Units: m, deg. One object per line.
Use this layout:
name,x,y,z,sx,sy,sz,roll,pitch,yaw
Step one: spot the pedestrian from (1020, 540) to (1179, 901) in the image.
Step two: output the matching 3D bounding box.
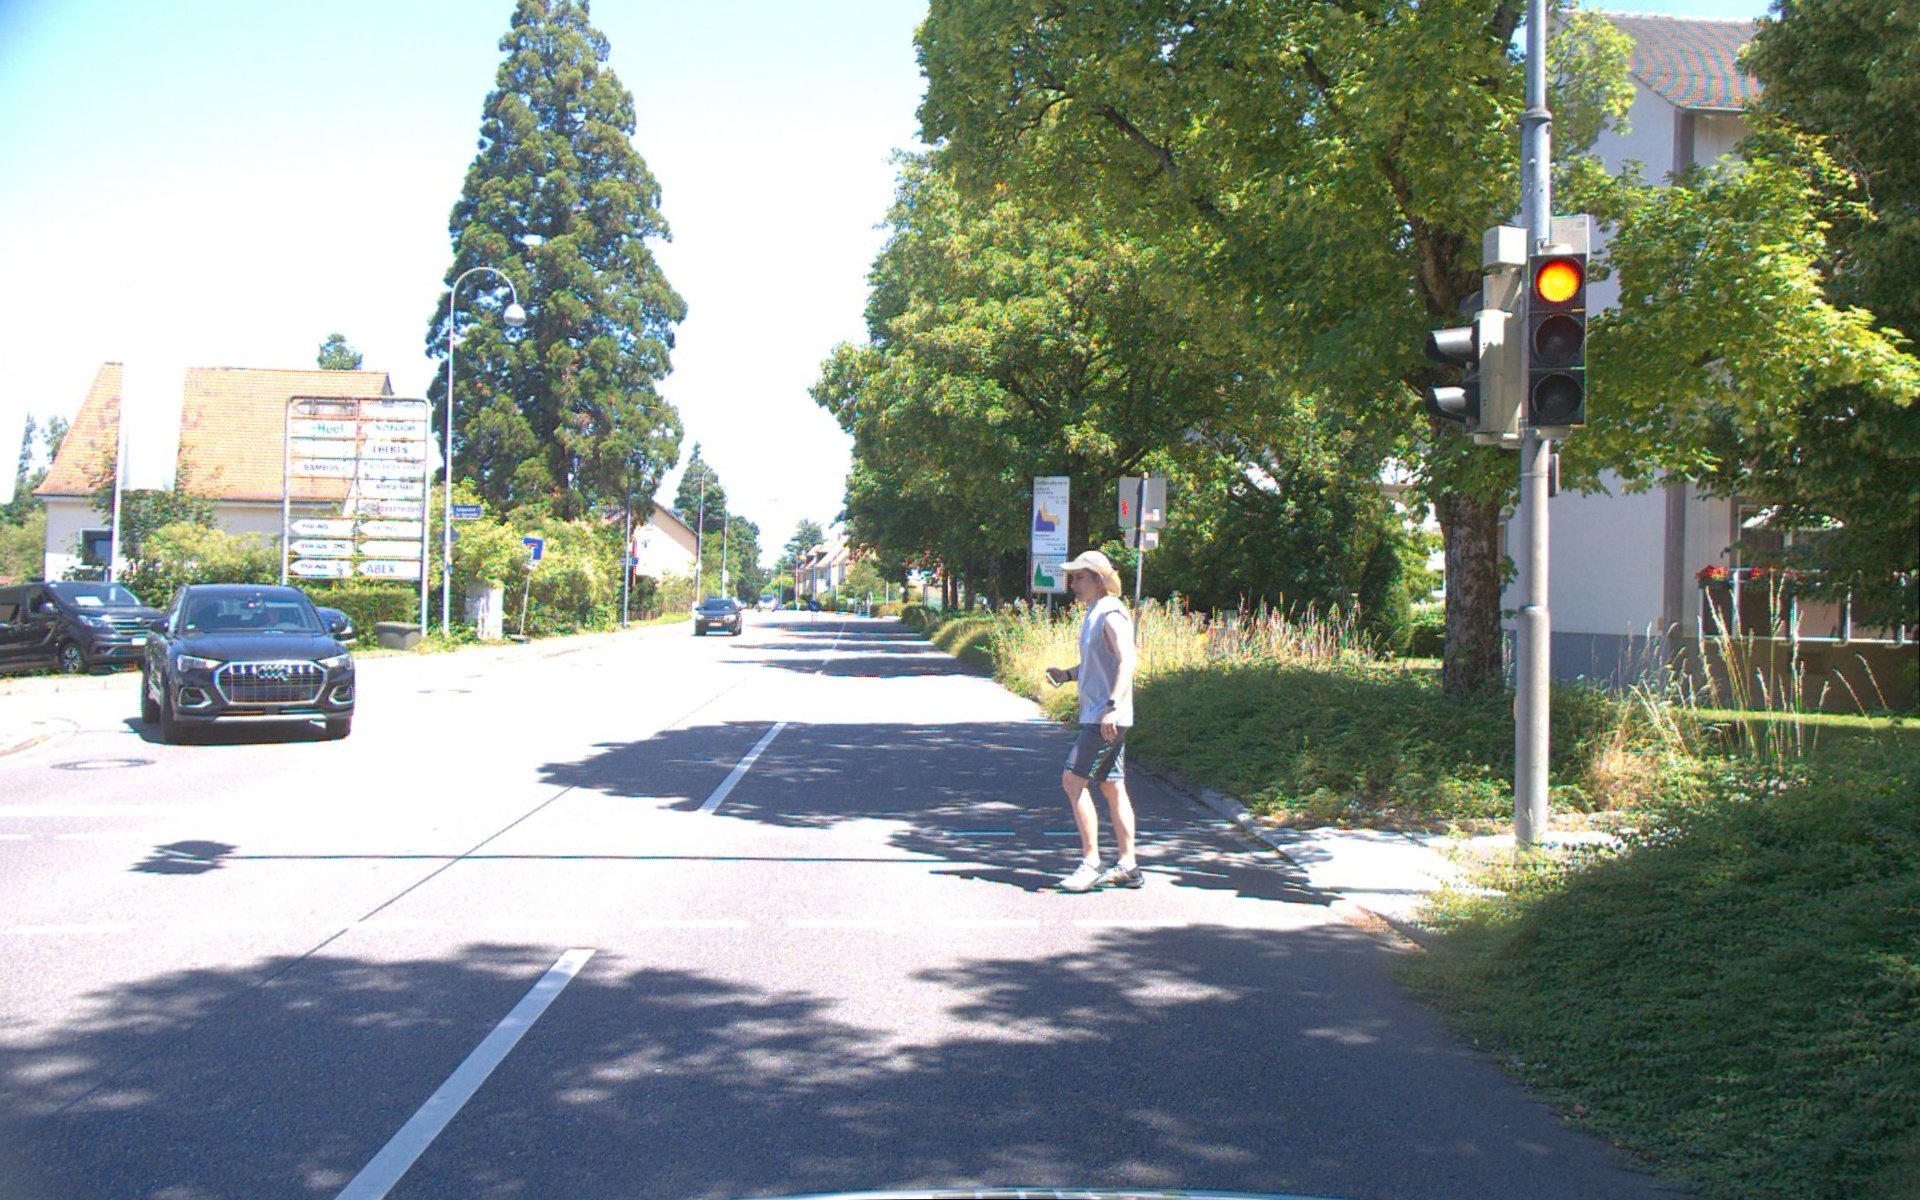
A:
pedestrian,0.728,0.598,8.593,0.603,1.782,0.560,0,-1,36

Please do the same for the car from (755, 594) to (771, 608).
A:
car,-21.259,0.101,178.469,1.525,1.473,3.786,1,-1,-5

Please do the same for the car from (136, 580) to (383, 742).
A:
car,-7.806,0.624,18.196,1.903,1.553,4.260,0,-1,-31

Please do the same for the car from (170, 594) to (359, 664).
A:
car,-14.912,0.609,35.596,3.425,1.452,1.598,0,0,-8

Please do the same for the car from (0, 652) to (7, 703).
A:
car,-24.535,1.907,39.656,1.713,1.247,3.240,1,0,-6

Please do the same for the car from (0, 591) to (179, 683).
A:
car,-17.314,0.723,32.641,3.089,1.744,1.569,1,-1,-11

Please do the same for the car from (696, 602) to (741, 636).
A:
car,-9.873,0.765,67.782,1.402,1.345,3.354,1,-1,-1
